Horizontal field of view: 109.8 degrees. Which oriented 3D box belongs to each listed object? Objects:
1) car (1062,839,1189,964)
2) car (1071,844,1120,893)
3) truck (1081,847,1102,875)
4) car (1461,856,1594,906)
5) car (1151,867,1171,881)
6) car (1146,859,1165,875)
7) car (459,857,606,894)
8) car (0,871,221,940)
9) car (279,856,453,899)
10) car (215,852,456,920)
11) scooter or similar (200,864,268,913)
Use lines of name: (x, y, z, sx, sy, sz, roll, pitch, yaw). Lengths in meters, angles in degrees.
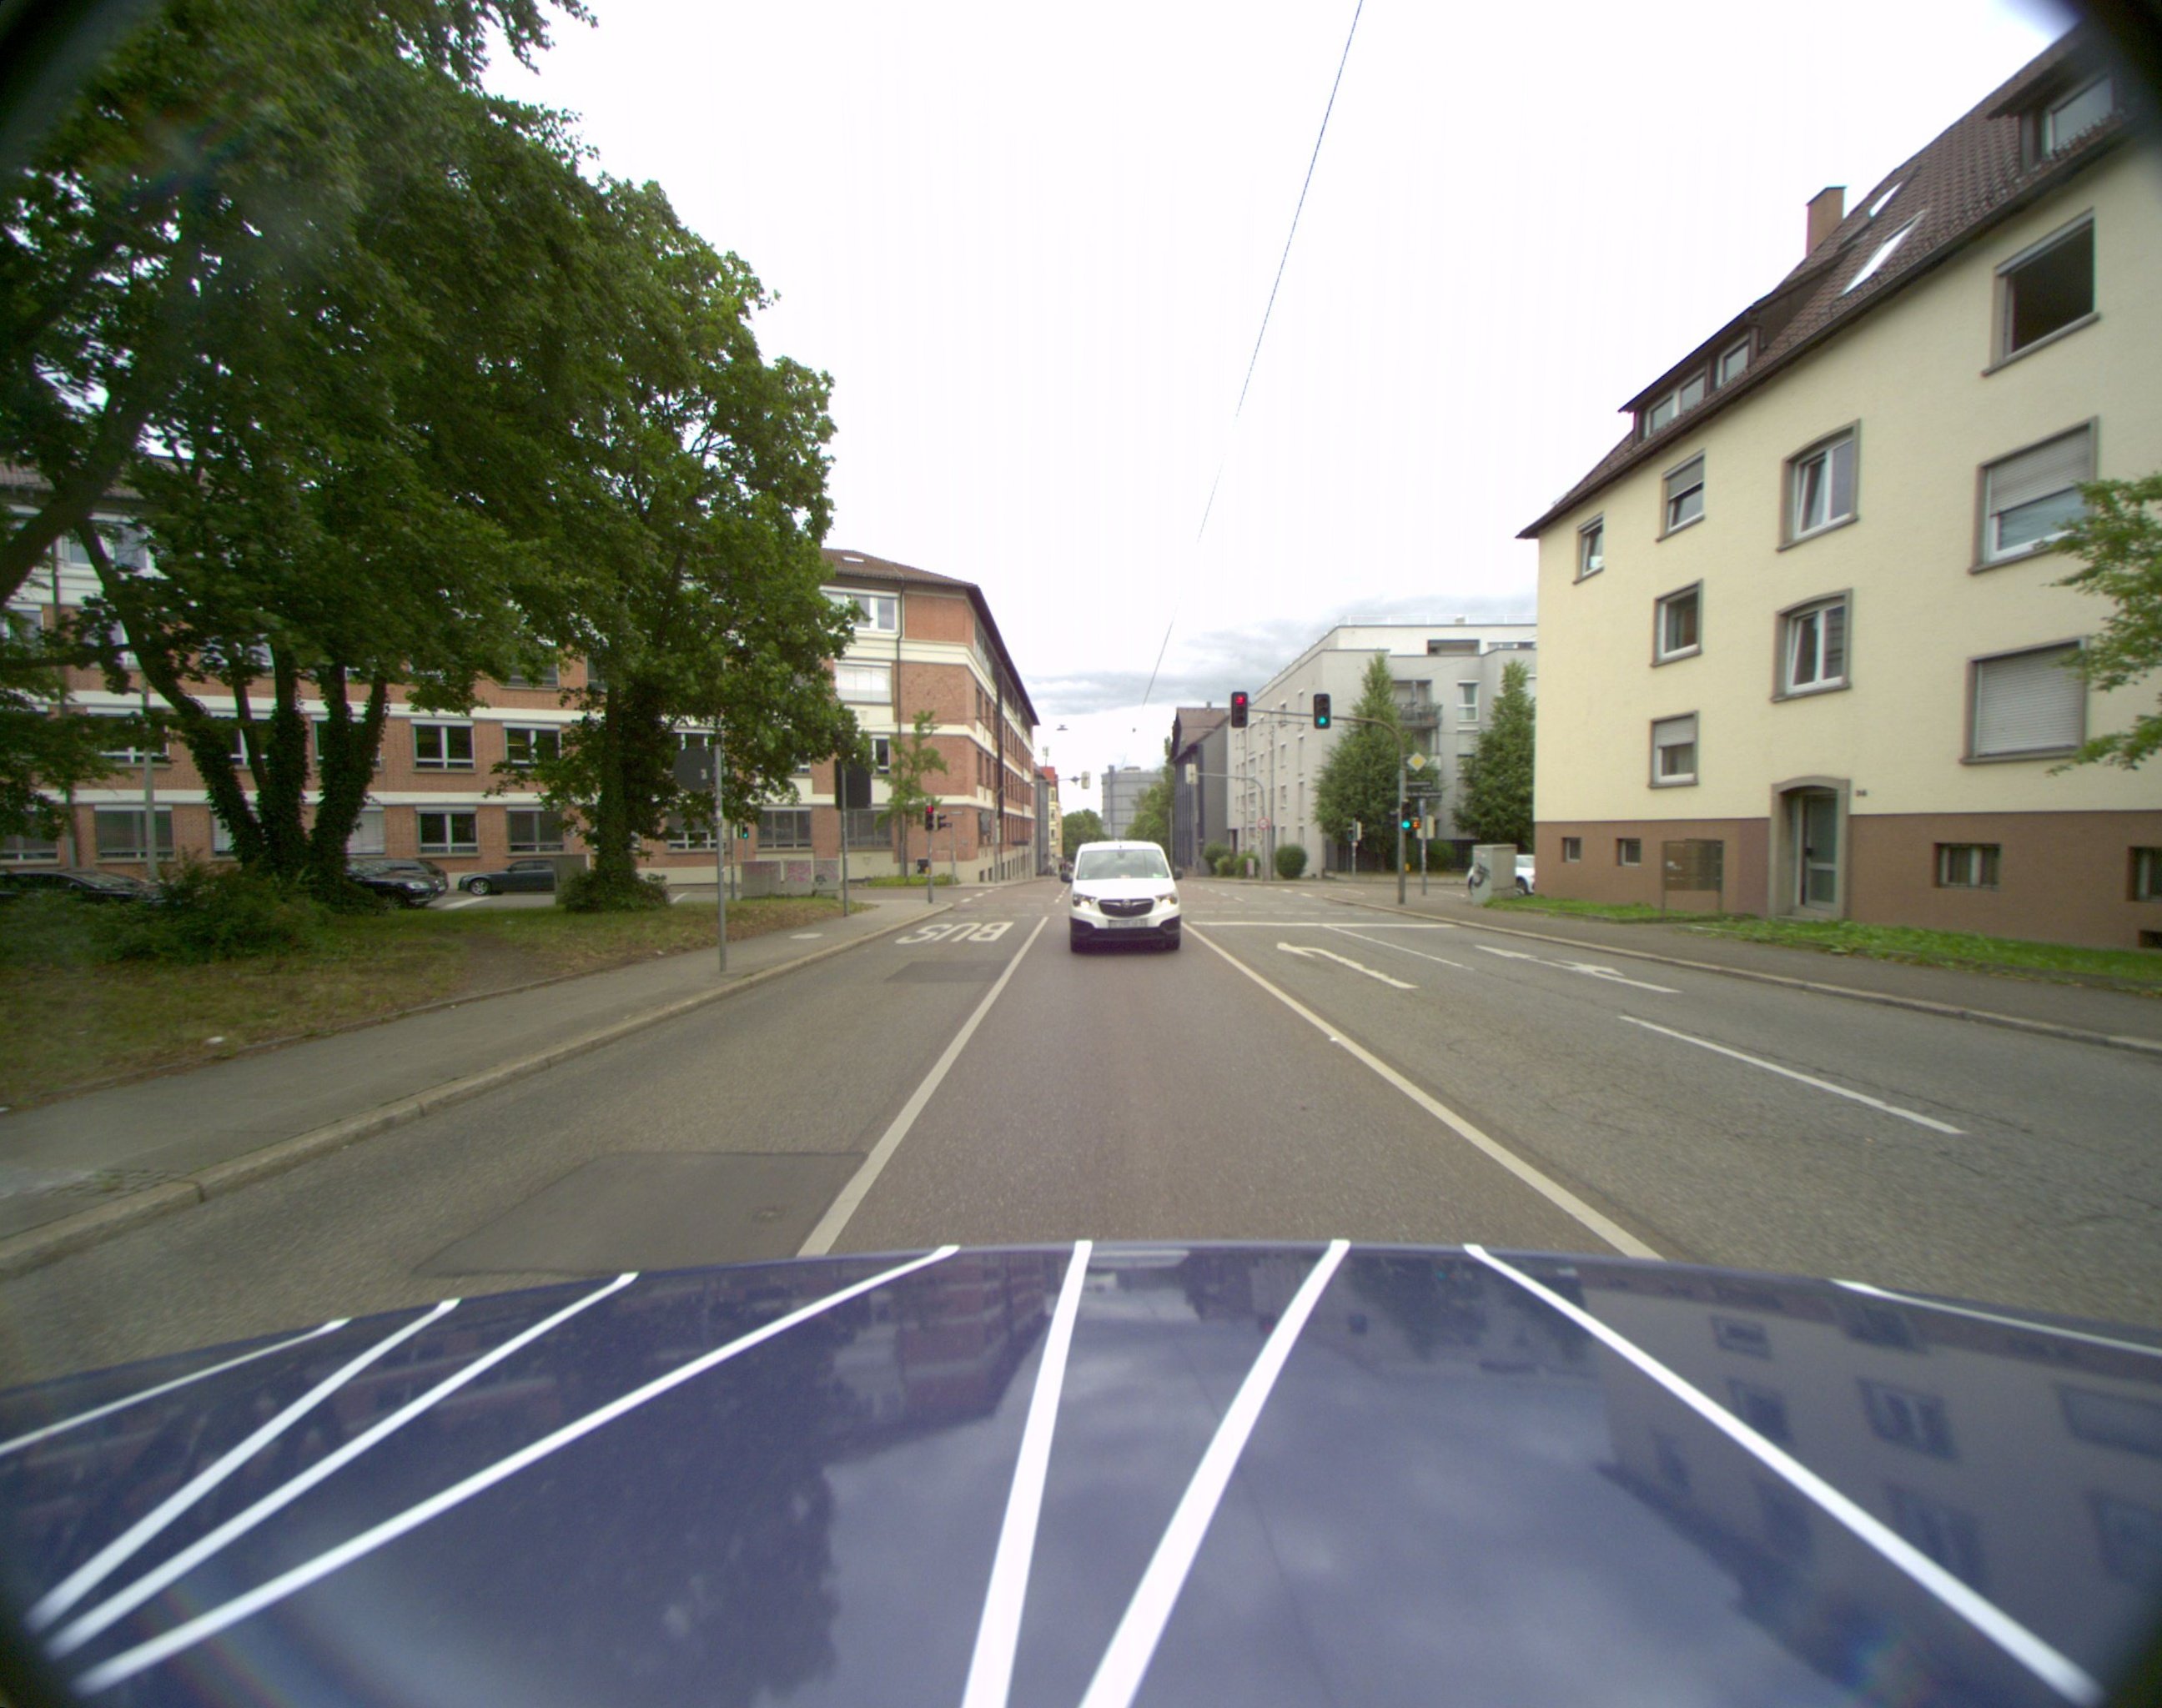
car: (0.704, 0.756, 13.474, 1.850, 1.831, 4.285, -1, -1, 1)
car: (0.595, 0.558, 31.068, 1.850, 1.832, 4.283, -1, 0, 1)
truck: (1.351, 0.883, 96.934, 2.545, 3.478, 8.521, 0, 0, 1)
car: (14.973, 0.904, 25.783, 1.819, 1.527, 4.260, 1, -1, -4)
car: (8.429, 2.121, 80.633, 1.799, 1.401, 4.000, 0, 0, 1)
car: (7.144, 1.259, 73.374, 1.591, 1.455, 3.616, 0, 0, 1)
car: (-21.752, 0.874, 30.365, 4.425, 1.396, 1.771, 0, -3, -21)
car: (-27.085, 1.359, 20.805, 4.313, 1.601, 1.742, 0, 5, -19)
car: (-26.716, 0.885, 28.582, 4.402, 1.500, 1.771, 0, -3, -21)
car: (-21.892, 0.881, 22.603, 4.661, 1.718, 1.960, 0, 5, -19)
scooter or similar: (-21.204, 0.853, 19.034, 1.105, 1.223, 0.341, 0, 0, -19)
